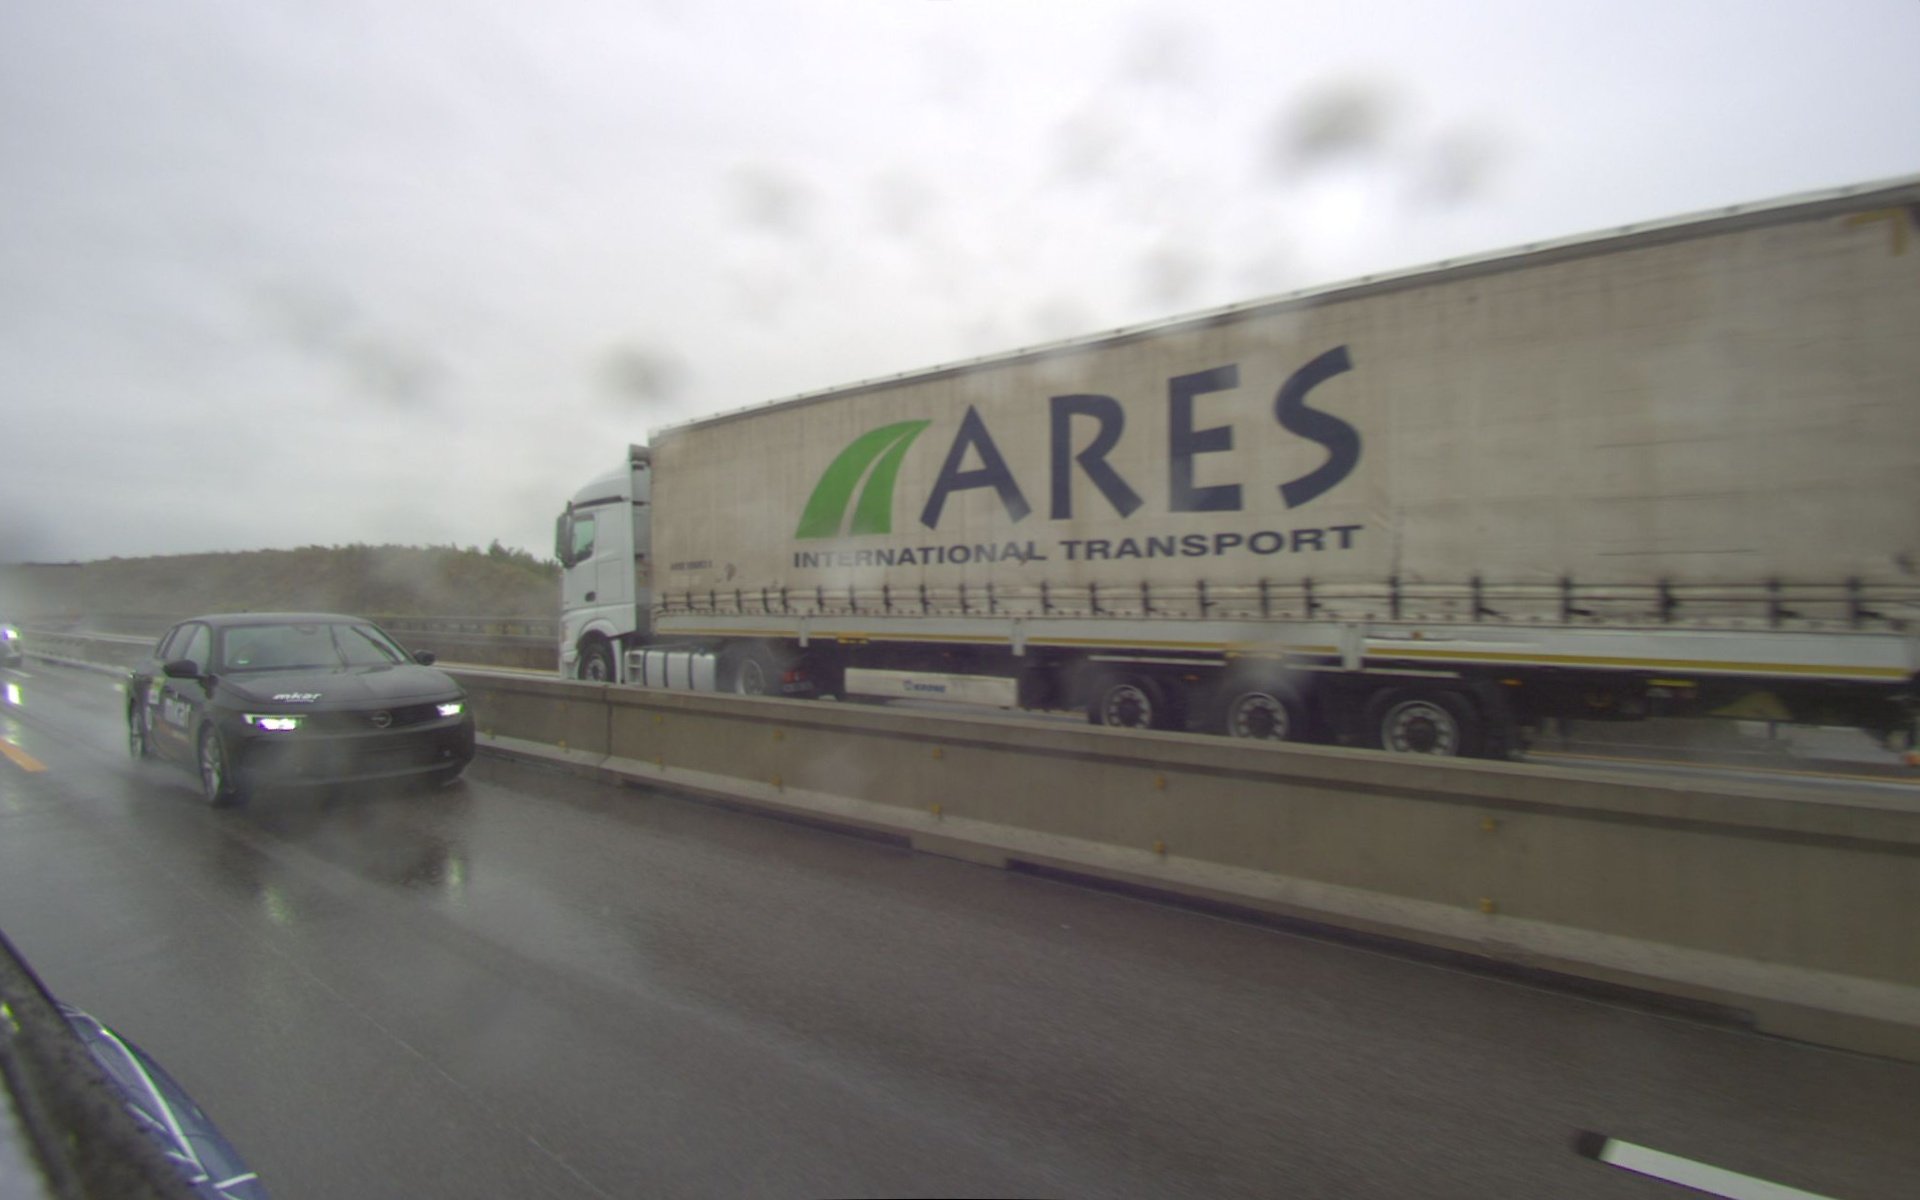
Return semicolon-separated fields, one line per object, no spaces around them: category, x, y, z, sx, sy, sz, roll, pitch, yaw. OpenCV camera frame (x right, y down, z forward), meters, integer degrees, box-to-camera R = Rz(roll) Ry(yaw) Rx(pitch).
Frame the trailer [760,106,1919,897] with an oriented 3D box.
trailer;2.482;-0.580;9.969;11.190;4.476;2.459;0;0;41

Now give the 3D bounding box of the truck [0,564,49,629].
truck;-63.383;-0.231;67.893;6.692;4.158;2.615;0;0;41

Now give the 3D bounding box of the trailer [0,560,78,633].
trailer;-57.529;-0.224;62.767;12.308;4.140;2.622;0;0;41

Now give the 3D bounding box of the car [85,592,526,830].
car;-5.905;0.753;8.860;4.792;1.539;1.919;0;-2;40

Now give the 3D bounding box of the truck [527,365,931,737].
truck;-3.795;-0.611;15.468;6.878;4.496;2.476;0;0;41

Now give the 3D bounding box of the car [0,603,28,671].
car;-26.032;0.940;26.483;3.997;1.693;1.947;0;0;40
